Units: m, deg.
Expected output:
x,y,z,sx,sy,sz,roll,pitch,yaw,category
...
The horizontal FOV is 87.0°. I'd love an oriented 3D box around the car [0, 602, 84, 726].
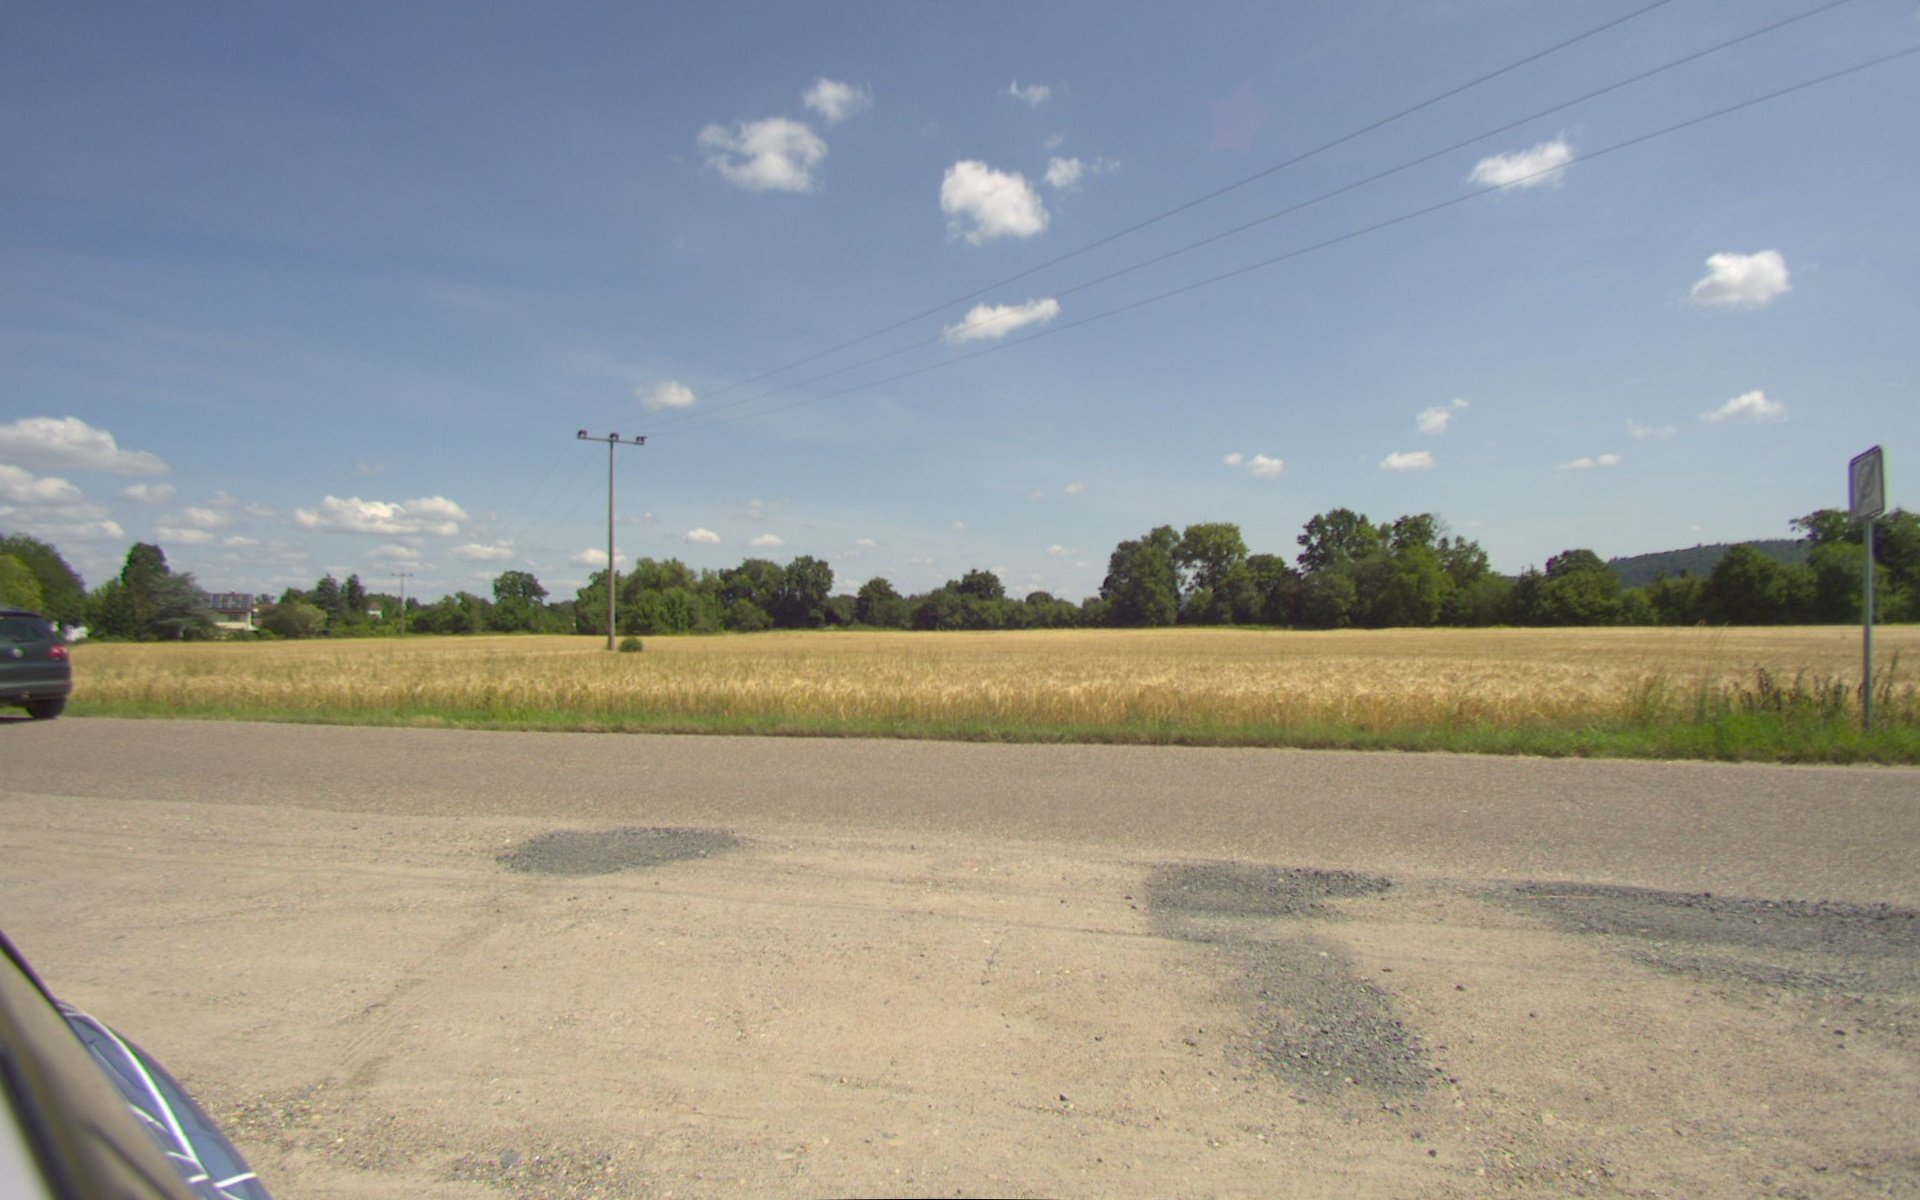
x,y,z,sx,sy,sz,roll,pitch,yaw,category
-15.146,0.914,14.694,4.219,1.692,1.739,-1,-1,18,car
